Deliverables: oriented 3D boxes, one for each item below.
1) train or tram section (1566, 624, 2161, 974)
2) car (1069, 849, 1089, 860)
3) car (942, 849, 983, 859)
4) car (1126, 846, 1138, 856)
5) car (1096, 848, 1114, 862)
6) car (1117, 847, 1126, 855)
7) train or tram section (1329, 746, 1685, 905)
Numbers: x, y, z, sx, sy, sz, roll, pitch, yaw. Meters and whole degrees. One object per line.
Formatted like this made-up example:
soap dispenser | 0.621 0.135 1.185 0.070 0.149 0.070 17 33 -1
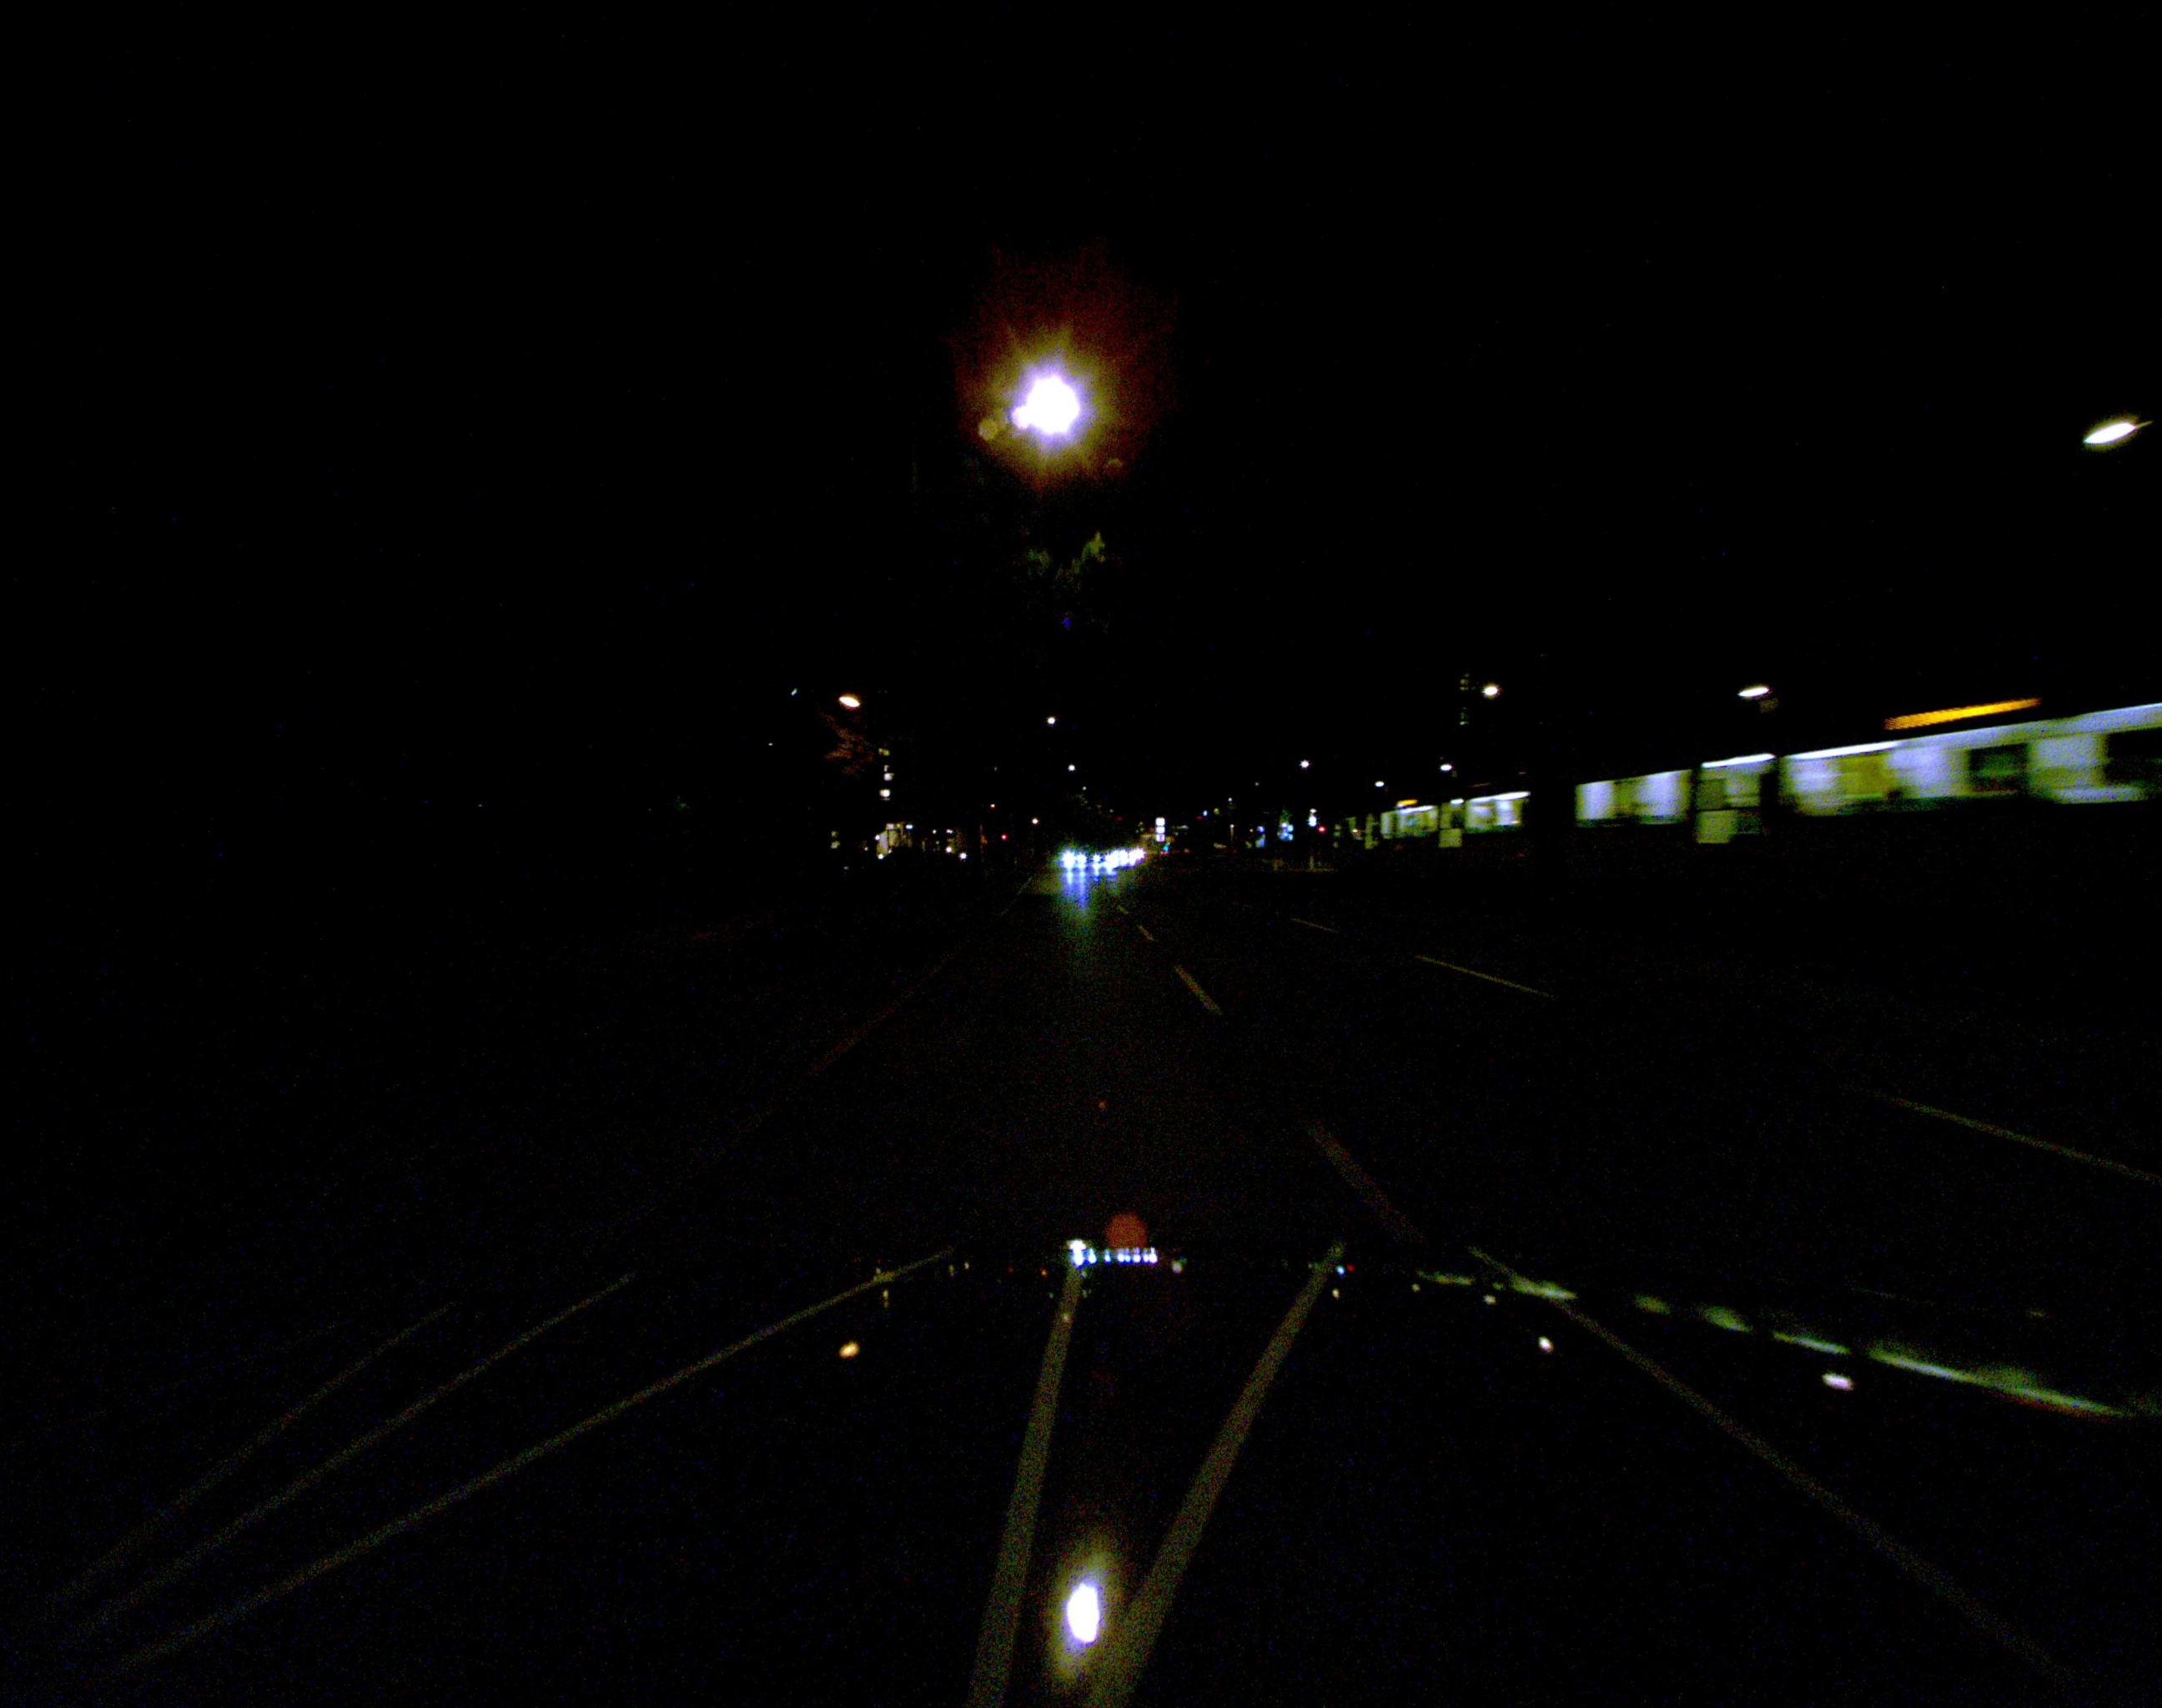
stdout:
train or tram section | 13.164 -0.640 9.287 2.765 3.805 18.669 -2 0 1
car | -0.268 0.074 90.994 1.947 1.299 3.907 1 1 6
car | -12.188 -0.019 78.357 4.008 1.028 1.480 0 -1 -41
car | 8.785 -0.459 131.059 1.908 1.609 3.718 -2 1 1
car | 2.903 0.107 90.774 1.858 1.482 3.560 -2 0 6
car | 8.787 -0.599 163.231 1.827 1.696 4.000 -2 1 4
train or tram section | 13.635 -0.767 28.359 2.745 3.824 19.363 -2 0 1
